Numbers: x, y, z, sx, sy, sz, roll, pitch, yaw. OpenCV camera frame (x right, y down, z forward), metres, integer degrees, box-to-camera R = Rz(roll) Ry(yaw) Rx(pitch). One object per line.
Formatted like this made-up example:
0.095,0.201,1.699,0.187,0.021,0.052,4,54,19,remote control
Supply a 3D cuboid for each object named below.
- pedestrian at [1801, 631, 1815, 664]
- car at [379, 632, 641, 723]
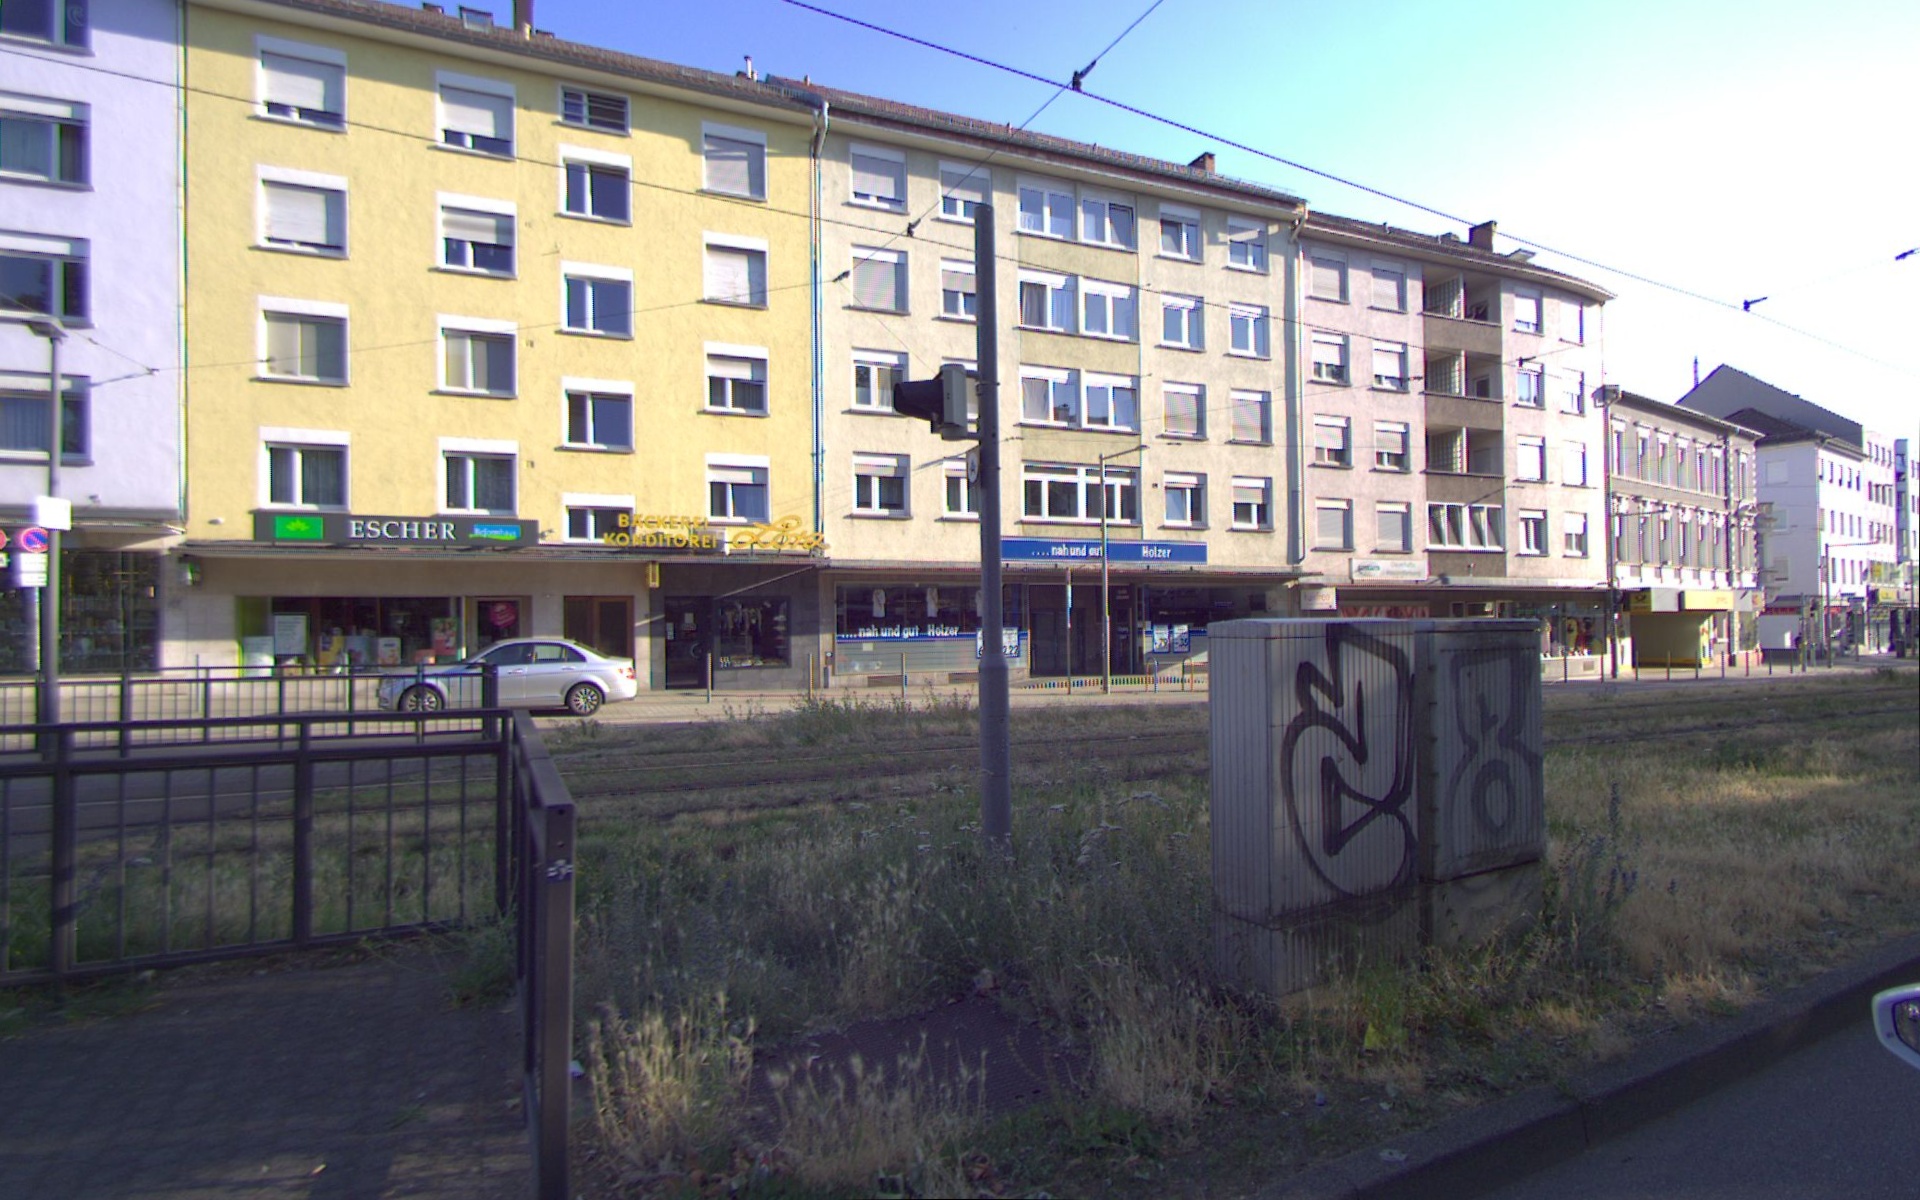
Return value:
45.201,2.540,53.537,0.501,1.736,0.424,1,-2,-28,pedestrian
-8.507,1.399,19.229,4.353,1.498,1.987,1,0,-26,car
